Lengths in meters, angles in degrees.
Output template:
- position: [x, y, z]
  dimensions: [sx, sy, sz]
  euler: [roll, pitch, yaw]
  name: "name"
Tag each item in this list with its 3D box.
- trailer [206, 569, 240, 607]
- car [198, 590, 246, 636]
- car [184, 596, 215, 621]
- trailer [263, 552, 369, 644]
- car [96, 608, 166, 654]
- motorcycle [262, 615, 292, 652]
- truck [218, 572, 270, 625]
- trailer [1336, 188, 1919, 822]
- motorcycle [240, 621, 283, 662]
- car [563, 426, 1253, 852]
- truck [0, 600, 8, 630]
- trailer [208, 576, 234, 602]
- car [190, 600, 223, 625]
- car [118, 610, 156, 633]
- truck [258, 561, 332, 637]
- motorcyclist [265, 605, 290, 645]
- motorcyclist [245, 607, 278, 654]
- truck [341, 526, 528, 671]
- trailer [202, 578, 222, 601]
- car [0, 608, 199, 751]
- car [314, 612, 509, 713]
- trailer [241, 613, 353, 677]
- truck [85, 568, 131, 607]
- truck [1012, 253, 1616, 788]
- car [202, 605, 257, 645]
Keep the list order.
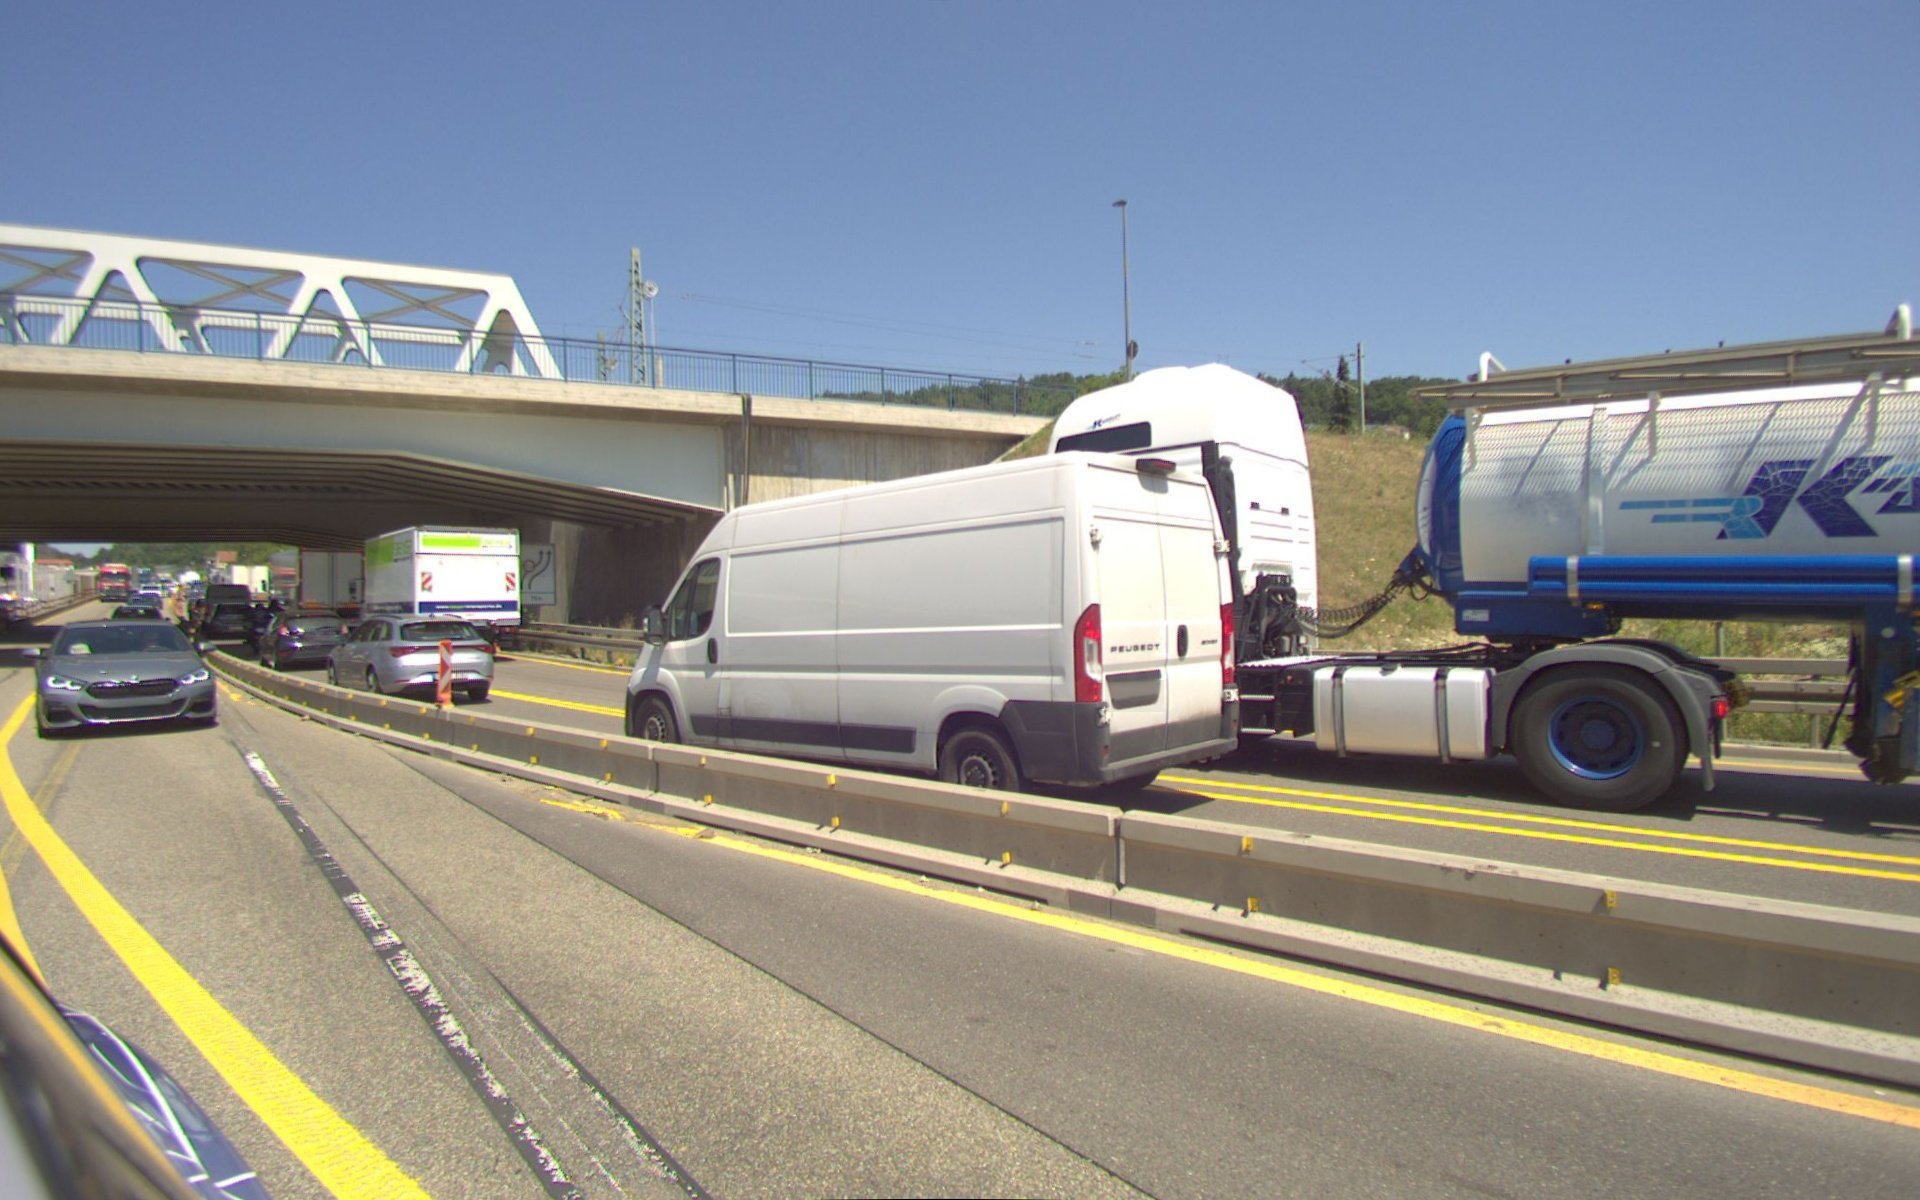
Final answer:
- position: [-83.864, -1.419, 115.071]
  dimensions: [2.777, 4.205, 8.260]
  euler: [0, 2, -39]
  name: "trailer"
- position: [-39.938, 0.649, 54.702]
  dimensions: [1.955, 2.347, 6.071]
  euler: [0, 0, -38]
  name: "car"
- position: [-62.455, 0.672, 83.116]
  dimensions: [1.777, 1.947, 4.976]
  euler: [0, 0, -40]
  name: "car"
- position: [-33.037, -0.096, 51.563]
  dimensions: [2.840, 4.070, 14.384]
  euler: [-2, 1, -39]
  name: "trailer"
- position: [-30.433, 1.097, 37.242]
  dimensions: [1.810, 1.484, 4.399]
  euler: [0, 1, -37]
  name: "car"
- position: [-25.451, 1.220, 37.700]
  dimensions: [0.693, 1.289, 2.740]
  euler: [0, 0, -39]
  name: "motorcycle"
- position: [-63.081, -0.292, 88.993]
  dimensions: [2.734, 4.345, 13.515]
  euler: [0, 2, -40]
  name: "truck"
- position: [7.839, -0.614, 6.001]
  dimensions: [10.237, 3.817, 2.500]
  euler: [-1, 0, 40]
  name: "trailer"
- position: [-22.194, 1.287, 32.143]
  dimensions: [0.822, 1.158, 2.795]
  euler: [0, 1, -41]
  name: "motorcycle"
- position: [-0.918, 0.229, 8.905]
  dimensions: [6.481, 2.522, 2.049]
  euler: [0, 0, 41]
  name: "car"
- position: [-117.723, 1.782, 122.940]
  dimensions: [2.466, 3.430, 5.448]
  euler: [0, 1, -38]
  name: "truck"
- position: [-112.501, -1.727, 154.211]
  dimensions: [2.619, 3.844, 11.854]
  euler: [0, 1, -34]
  name: "trailer"
- position: [-51.154, 0.830, 68.687]
  dimensions: [1.726, 1.622, 4.150]
  euler: [0, 0, -38]
  name: "car"
- position: [-58.439, 1.517, 71.815]
  dimensions: [1.775, 1.564, 4.003]
  euler: [-1, 0, -44]
  name: "car"
- position: [-37.667, -0.061, 57.246]
  dimensions: [2.838, 4.081, 4.893]
  euler: [-2, 1, -40]
  name: "truck"
- position: [-25.450, 0.925, 37.741]
  dimensions: [0.709, 1.427, 0.744]
  euler: [0, 1, -40]
  name: "motorcyclist"
- position: [-22.175, 0.948, 32.112]
  dimensions: [0.800, 1.427, 0.744]
  euler: [0, 1, -41]
  name: "motorcyclist"
- position: [-15.420, -0.014, 29.292]
  dimensions: [2.783, 3.602, 8.509]
  euler: [-1, 0, -42]
  name: "truck"
- position: [-131.692, -1.893, 178.026]
  dimensions: [2.566, 3.899, 11.298]
  euler: [0, 2, -38]
  name: "trailer"
- position: [-11.539, 0.924, 13.830]
  dimensions: [1.810, 1.609, 4.399]
  euler: [0, 0, -37]
  name: "car"
- position: [-9.482, 0.963, 17.311]
  dimensions: [1.823, 1.475, 4.527]
  euler: [0, 0, -44]
  name: "car"
- position: [-16.768, 1.073, 25.534]
  dimensions: [1.645, 1.442, 4.003]
  euler: [0, 0, -44]
  name: "trailer"
- position: [-92.367, -1.398, 109.882]
  dimensions: [3.410, 4.077, 10.233]
  euler: [0, 2, -38]
  name: "truck"
- position: [3.270, -0.562, 9.821]
  dimensions: [4.944, 3.850, 2.509]
  euler: [-1, 0, 39]
  name: "truck"
- position: [-31.910, 1.067, 44.170]
  dimensions: [1.724, 1.683, 4.086]
  euler: [0, -1, -39]
  name: "car"
